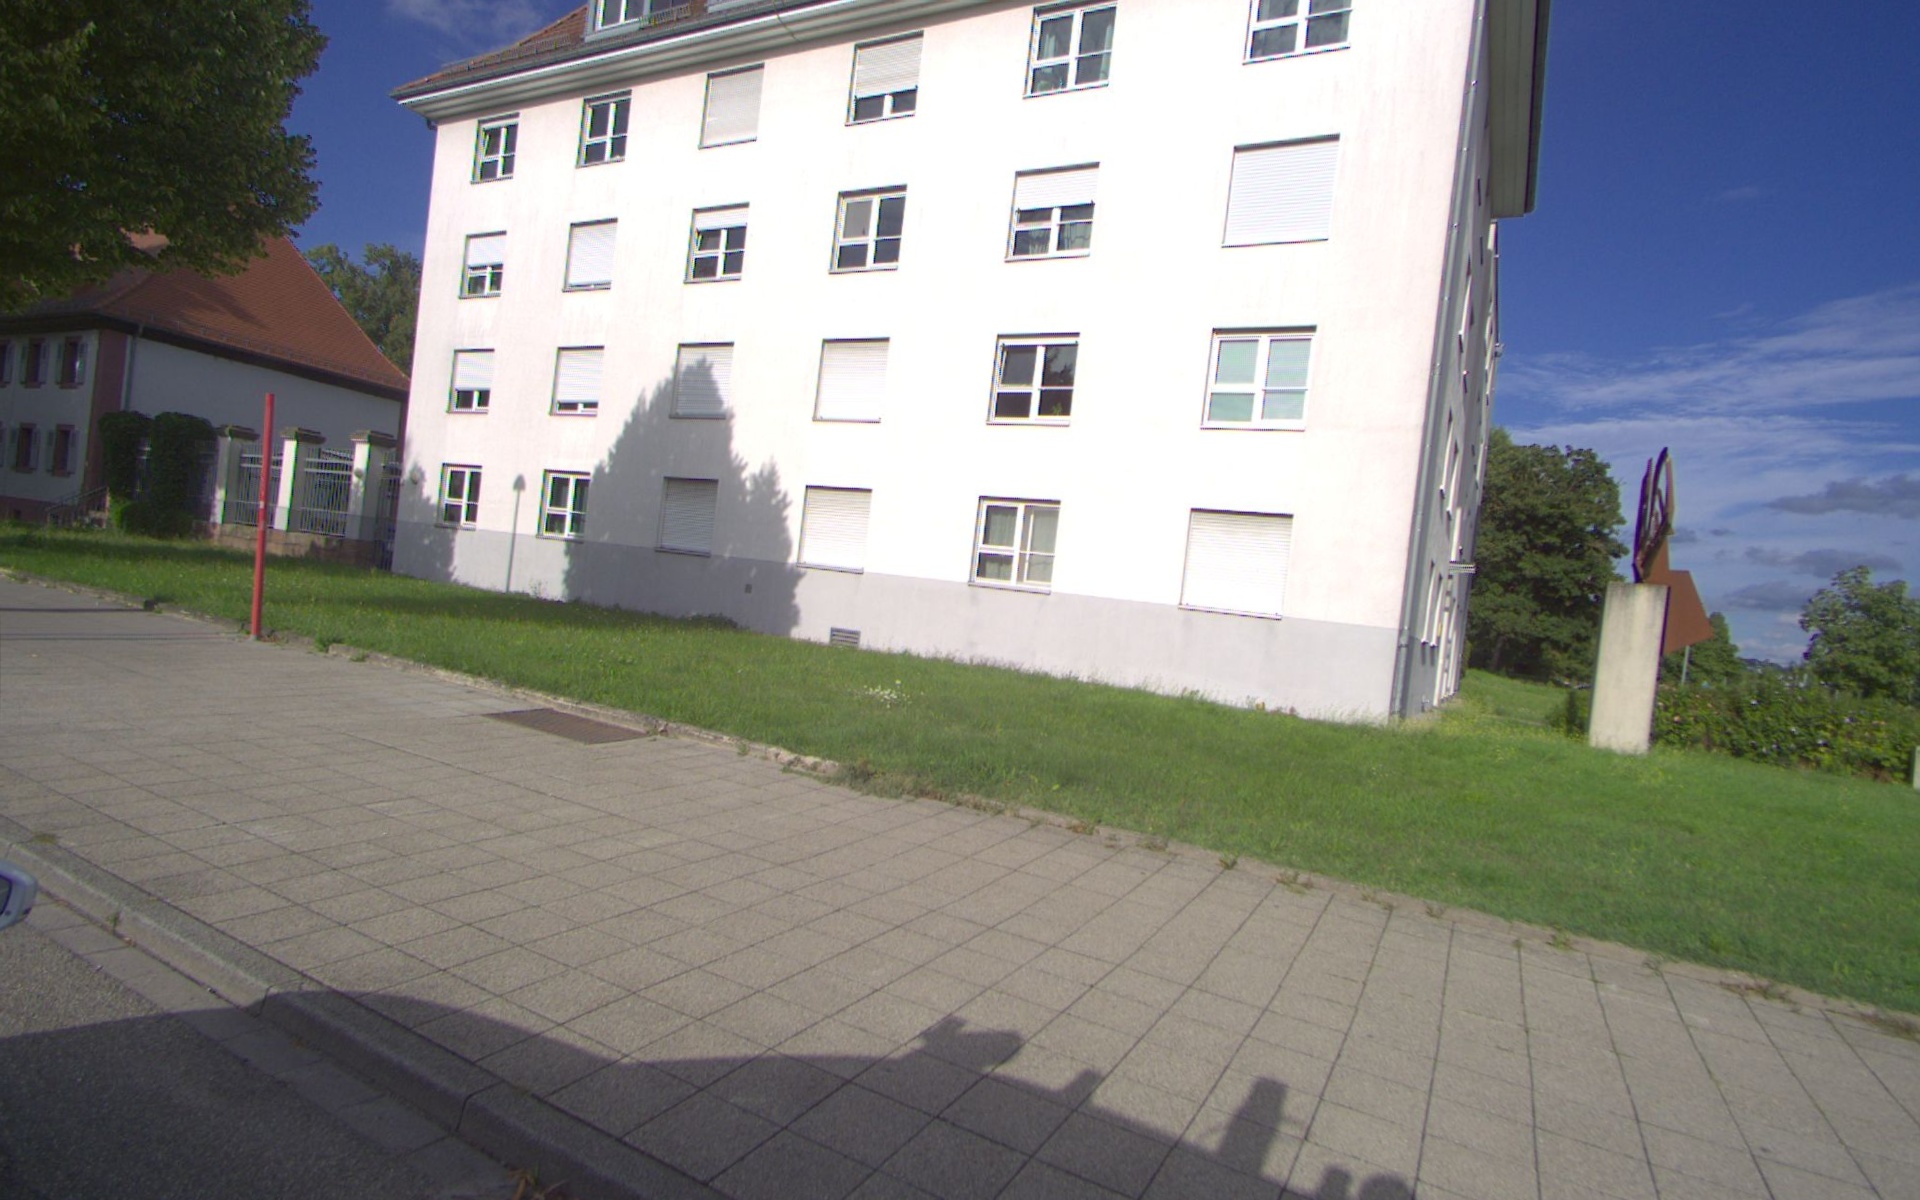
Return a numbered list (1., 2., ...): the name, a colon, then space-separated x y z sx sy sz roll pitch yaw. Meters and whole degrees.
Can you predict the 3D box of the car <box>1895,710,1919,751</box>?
1. car: 54.690 7.445 54.554 5.334 2.075 1.998 6 0 26
